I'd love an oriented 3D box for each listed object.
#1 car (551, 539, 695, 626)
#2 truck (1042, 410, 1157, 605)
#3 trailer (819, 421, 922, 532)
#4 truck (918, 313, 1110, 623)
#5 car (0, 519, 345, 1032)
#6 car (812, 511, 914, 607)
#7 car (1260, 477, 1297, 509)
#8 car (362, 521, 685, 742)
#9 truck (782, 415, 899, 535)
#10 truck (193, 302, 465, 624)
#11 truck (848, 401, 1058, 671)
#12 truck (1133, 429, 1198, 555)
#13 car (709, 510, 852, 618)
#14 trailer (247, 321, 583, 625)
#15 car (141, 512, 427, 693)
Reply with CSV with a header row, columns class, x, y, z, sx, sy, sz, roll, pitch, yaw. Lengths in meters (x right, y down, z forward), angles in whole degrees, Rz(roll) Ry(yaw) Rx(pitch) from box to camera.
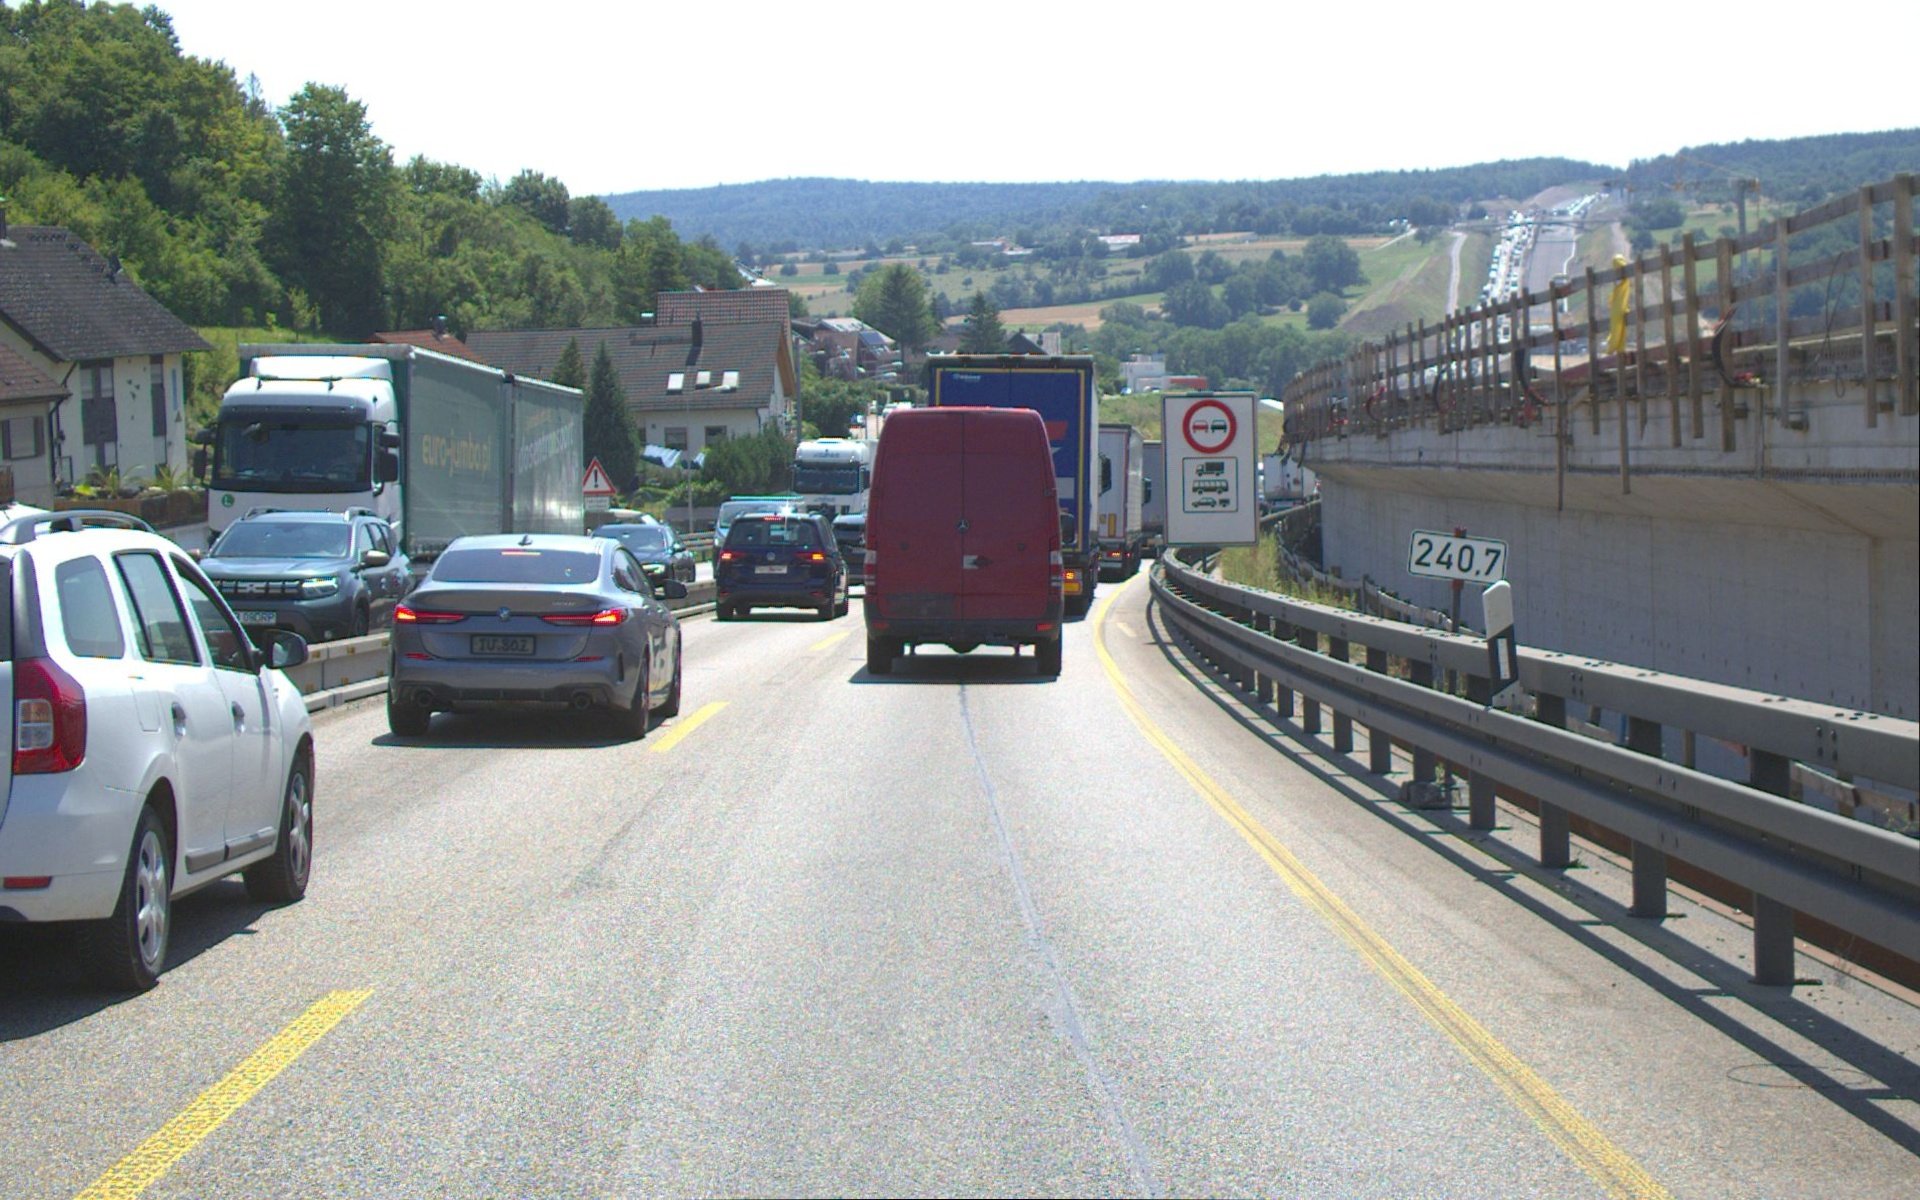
class,x,y,z,sx,sy,sz,roll,pitch,yaw
car,-5.884,-0.311,60.522,1.902,1.457,4.757,0,0,2
truck,3.723,-2.321,89.877,2.786,4.799,9.684,0,0,3
trailer,-3.440,-4.776,134.215,3.004,4.151,9.016,0,1,5
truck,1.046,-2.084,58.100,2.786,4.799,9.684,0,0,3
car,-3.386,0.505,12.082,1.651,1.478,4.267,-2,1,0
car,-1.893,-0.798,68.166,1.729,1.832,4.000,0,0,3
car,20.694,-6.927,223.399,2.132,2.007,3.999,0,0,8
car,-3.091,0.172,25.101,1.794,1.480,4.050,0,1,1
truck,-4.242,-4.499,124.477,2.978,4.148,10.544,0,2,5
truck,-9.410,-1.973,51.857,2.846,4.564,5.787,0,0,2
truck,-0.060,-0.629,34.947,1.993,2.570,4.000,0,0,0
truck,7.278,-3.778,121.454,1.994,4.366,3.999,0,0,8
car,-2.743,-0.555,53.131,1.810,1.602,3.719,0,0,3
trailer,-9.132,-2.000,59.832,2.834,4.625,14.580,0,0,3
car,-6.588,-0.016,33.934,1.957,1.675,4.114,0,1,1
